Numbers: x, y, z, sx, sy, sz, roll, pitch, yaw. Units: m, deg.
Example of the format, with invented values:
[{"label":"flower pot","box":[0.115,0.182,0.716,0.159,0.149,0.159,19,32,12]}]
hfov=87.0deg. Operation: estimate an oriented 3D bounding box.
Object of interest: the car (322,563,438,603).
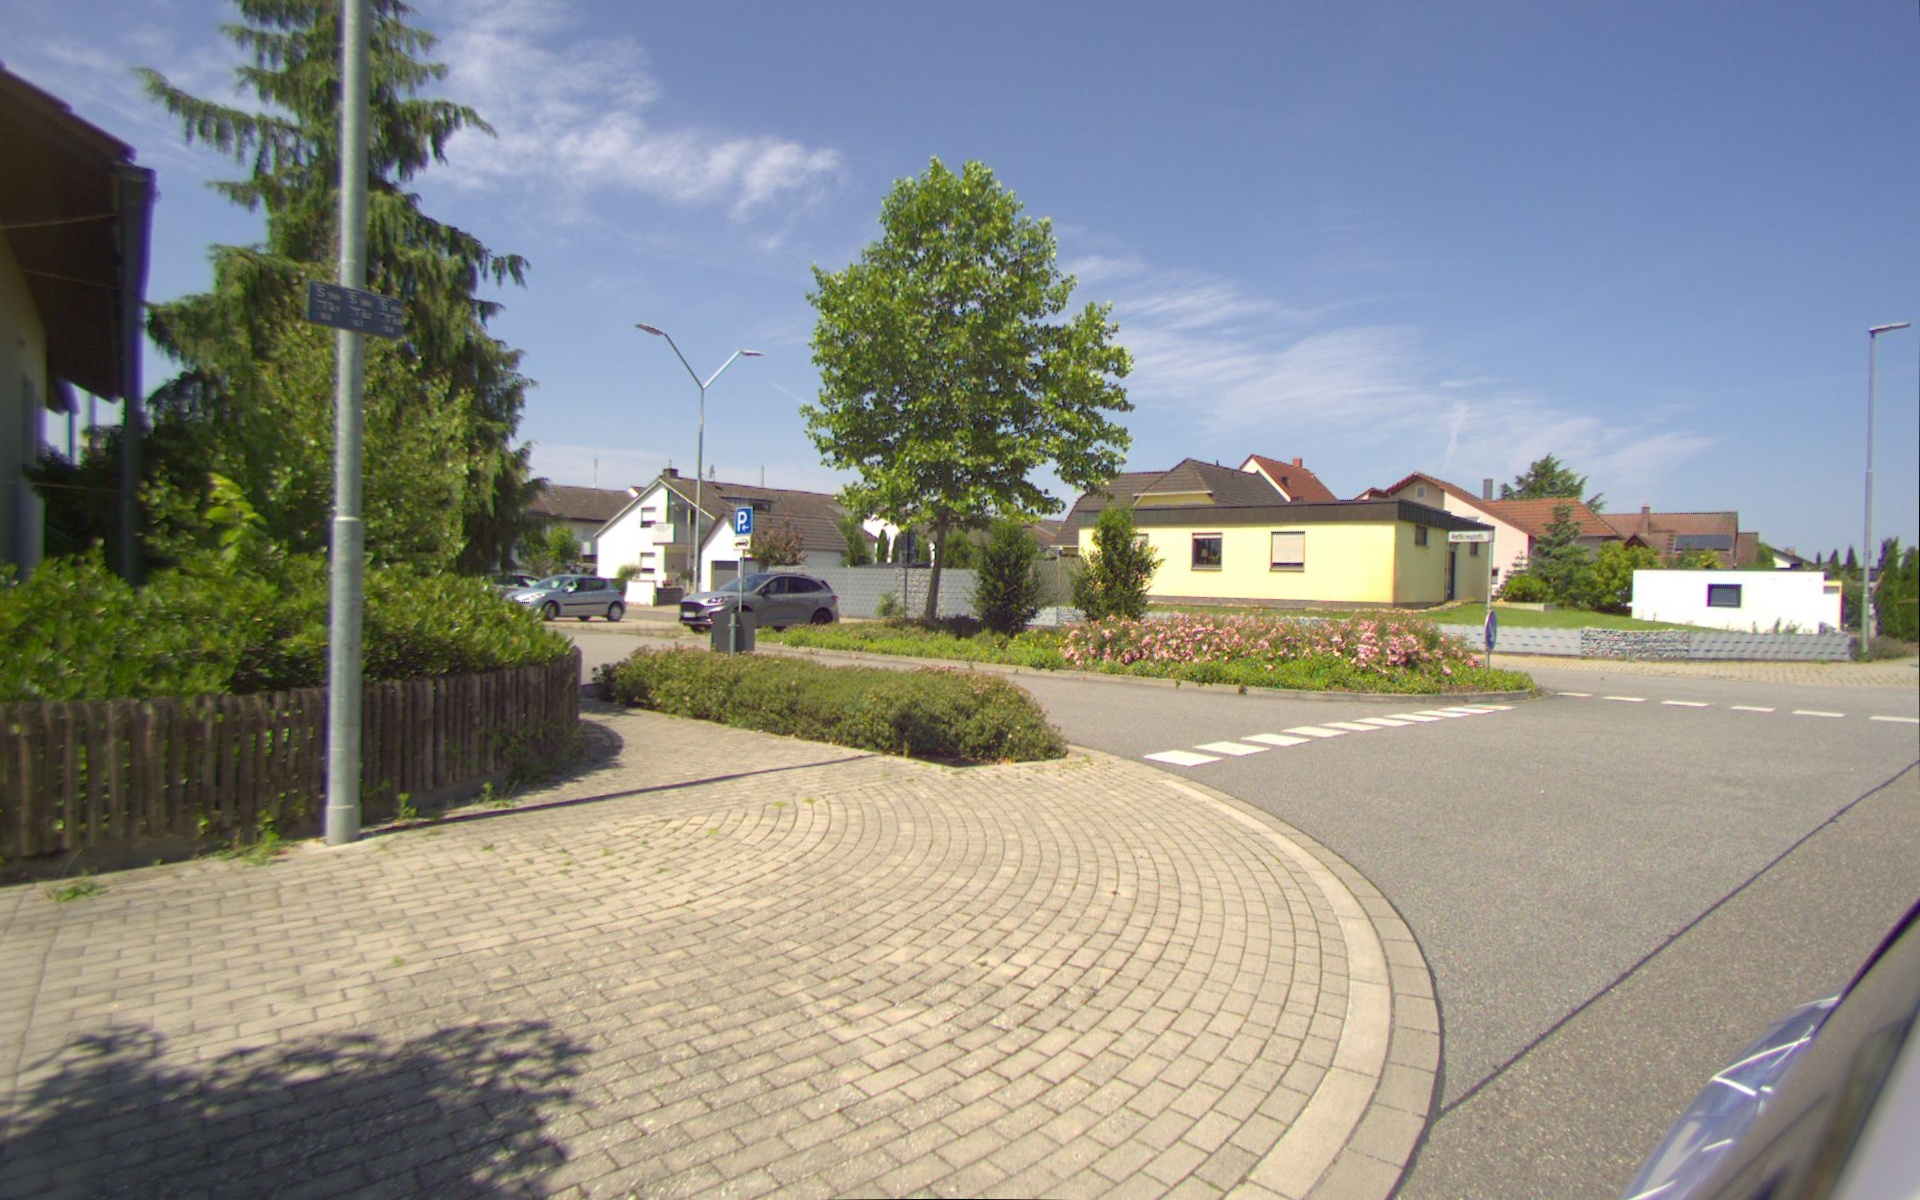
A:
[{"label":"car","box":[-24.614,-0.731,43.036,1.751,1.616,3.944,2,1,39]}]

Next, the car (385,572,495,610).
[{"label":"car","box":[-19.757,-0.310,38.541,1.508,1.374,3.452,-1,-1,40]}]

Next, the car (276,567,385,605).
[{"label":"car","box":[-28.948,-0.629,46.628,1.751,1.657,3.944,1,1,39]}]

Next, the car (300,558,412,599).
[{"label":"car","box":[-26.904,-0.928,45.189,1.751,1.718,3.944,0,0,39]}]

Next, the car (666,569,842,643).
[{"label":"car","box":[-5.248,0.111,26.254,1.639,1.763,4.386,2,1,41]}]

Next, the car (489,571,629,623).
[{"label":"car","box":[-12.539,-0.119,31.855,1.633,1.488,3.960,1,1,31]}]

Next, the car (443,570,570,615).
[{"label":"car","box":[-15.491,-0.265,34.659,1.639,1.450,3.637,2,1,40]}]
